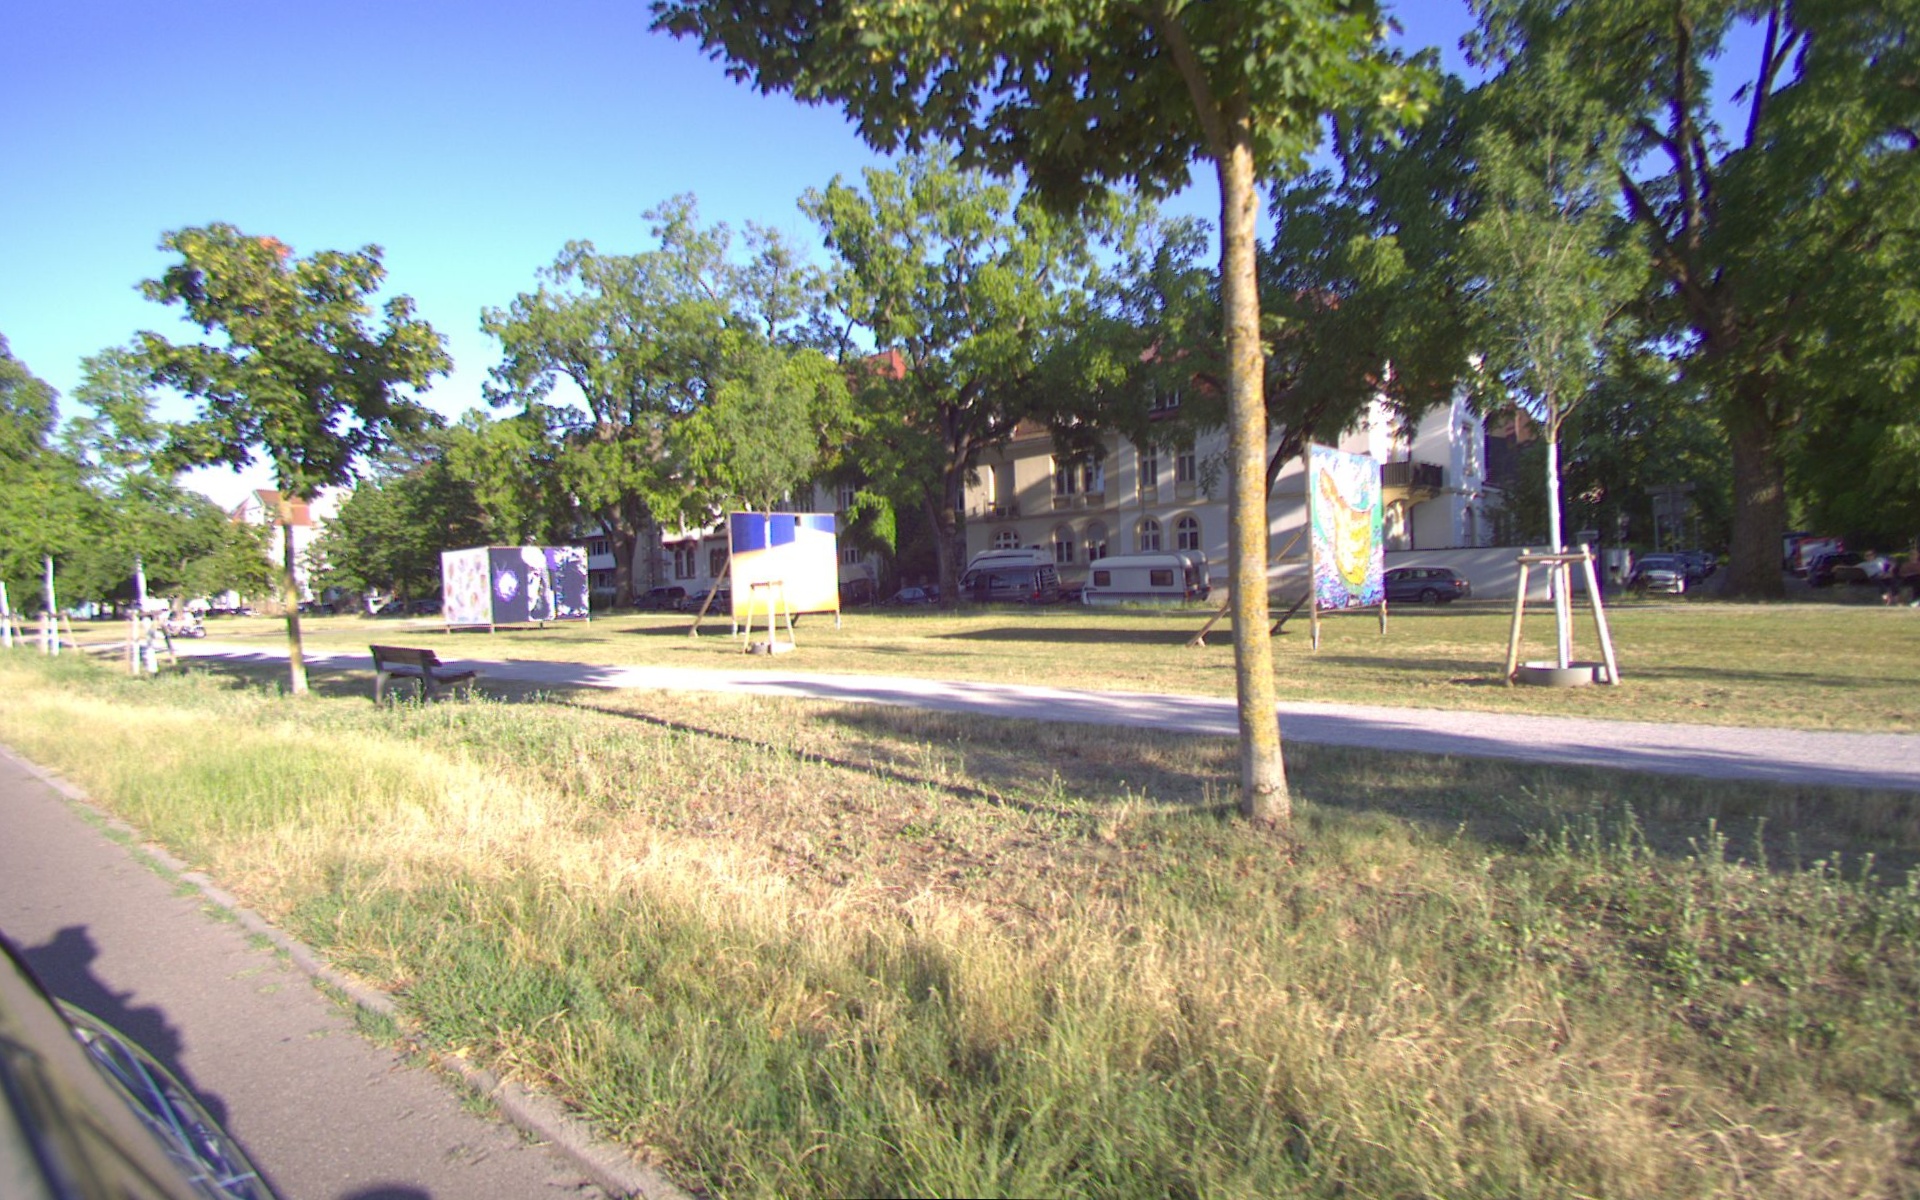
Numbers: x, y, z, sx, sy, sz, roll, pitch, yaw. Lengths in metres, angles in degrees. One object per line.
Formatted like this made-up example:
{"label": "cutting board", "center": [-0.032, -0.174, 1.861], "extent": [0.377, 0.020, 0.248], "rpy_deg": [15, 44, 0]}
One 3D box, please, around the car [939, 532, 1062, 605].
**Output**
{"label": "car", "center": [1.905, -1.494, 49.804], "extent": [6.072, 3.274, 1.973], "rpy_deg": [-2, 0, 41]}

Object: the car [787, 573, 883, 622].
{"label": "car", "center": [-6.114, -0.097, 49.302], "extent": [4.566, 2.191, 1.974], "rpy_deg": [-2, 0, 39]}

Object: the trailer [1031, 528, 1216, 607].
{"label": "trailer", "center": [6.086, -1.135, 38.421], "extent": [6.633, 2.679, 2.448], "rpy_deg": [0, -1, 41]}

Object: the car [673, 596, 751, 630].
{"label": "car", "center": [-13.811, 0.748, 56.214], "extent": [4.341, 1.741, 1.973], "rpy_deg": [-2, 0, 40]}

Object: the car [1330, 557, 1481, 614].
{"label": "car", "center": [16.390, -0.513, 37.358], "extent": [4.713, 1.926, 1.870], "rpy_deg": [-2, 1, 42]}

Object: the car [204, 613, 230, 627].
{"label": "car", "center": [-106.179, 2.855, 144.615], "extent": [3.995, 1.859, 1.974], "rpy_deg": [0, -1, 39]}

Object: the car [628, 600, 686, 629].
{"label": "car", "center": [-21.009, 1.016, 70.071], "extent": [4.281, 1.838, 1.605], "rpy_deg": [-2, 0, 37]}

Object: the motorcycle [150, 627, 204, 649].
{"label": "motorcycle", "center": [-39.766, 1.913, 51.405], "extent": [0.566, 0.964, 2.082], "rpy_deg": [-1, 1, 42]}

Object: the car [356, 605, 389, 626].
{"label": "car", "center": [-61.904, 1.651, 106.573], "extent": [4.001, 2.029, 1.971], "rpy_deg": [-2, 1, 44]}

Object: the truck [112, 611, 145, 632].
{"label": "truck", "center": [-132.956, 3.394, 161.761], "extent": [7.704, 3.170, 2.750], "rpy_deg": [-2, 1, 40]}

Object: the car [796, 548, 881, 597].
{"label": "car", "center": [-6.959, -1.500, 57.813], "extent": [5.043, 2.660, 1.924], "rpy_deg": [0, -1, 42]}

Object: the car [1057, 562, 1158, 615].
{"label": "car", "center": [6.586, -0.494, 45.310], "extent": [3.999, 2.170, 1.973], "rpy_deg": [-2, 1, 42]}

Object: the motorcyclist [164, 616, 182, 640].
{"label": "motorcyclist", "center": [-39.900, 1.408, 51.324], "extent": [0.750, 1.158, 0.567], "rpy_deg": [-2, 1, 42]}

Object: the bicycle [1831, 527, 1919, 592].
{"label": "bicycle", "center": [20.428, -0.893, 21.909], "extent": [2.331, 1.352, 0.505], "rpy_deg": [-1, 1, 45]}

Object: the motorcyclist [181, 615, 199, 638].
{"label": "motorcyclist", "center": [-39.433, 1.369, 51.840], "extent": [0.750, 1.158, 0.567], "rpy_deg": [-2, 1, 42]}

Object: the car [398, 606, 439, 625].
{"label": "car", "center": [-44.363, 1.292, 82.906], "extent": [3.637, 1.427, 1.542], "rpy_deg": [-2, 0, 37]}

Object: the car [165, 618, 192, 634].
{"label": "car", "center": [-106.344, 3.548, 137.692], "extent": [3.997, 2.029, 2.099], "rpy_deg": [0, -1, 40]}

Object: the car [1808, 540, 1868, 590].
{"label": "car", "center": [39.929, -1.625, 46.113], "extent": [1.868, 2.139, 3.948], "rpy_deg": [-1, 2, 39]}

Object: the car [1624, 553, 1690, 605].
{"label": "car", "center": [27.610, -0.855, 40.008], "extent": [1.978, 1.914, 4.471], "rpy_deg": [-2, 1, 36]}

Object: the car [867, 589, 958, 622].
{"label": "car", "center": [-2.180, 0.228, 45.802], "extent": [4.043, 1.325, 1.833], "rpy_deg": [0, 3, 44]}

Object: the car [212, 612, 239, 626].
{"label": "car", "center": [-101.891, 2.647, 140.434], "extent": [3.995, 1.896, 1.974], "rpy_deg": [0, -1, 39]}

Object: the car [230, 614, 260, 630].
{"label": "car", "center": [-82.953, 2.580, 117.368], "extent": [3.998, 1.715, 1.973], "rpy_deg": [-2, 0, 42]}

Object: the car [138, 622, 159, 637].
{"label": "car", "center": [-121.285, 4.410, 151.222], "extent": [4.001, 2.029, 1.972], "rpy_deg": [-2, 0, 44]}

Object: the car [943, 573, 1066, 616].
{"label": "car", "center": [1.823, -0.206, 42.391], "extent": [4.947, 1.654, 1.974], "rpy_deg": [-1, 3, 40]}

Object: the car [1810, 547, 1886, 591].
{"label": "car", "center": [36.884, -1.315, 42.146], "extent": [2.178, 1.692, 4.093], "rpy_deg": [-1, 2, 39]}

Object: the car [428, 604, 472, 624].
{"label": "car", "center": [-39.682, 1.084, 78.688], "extent": [3.637, 1.379, 1.542], "rpy_deg": [-2, 0, 37]}
